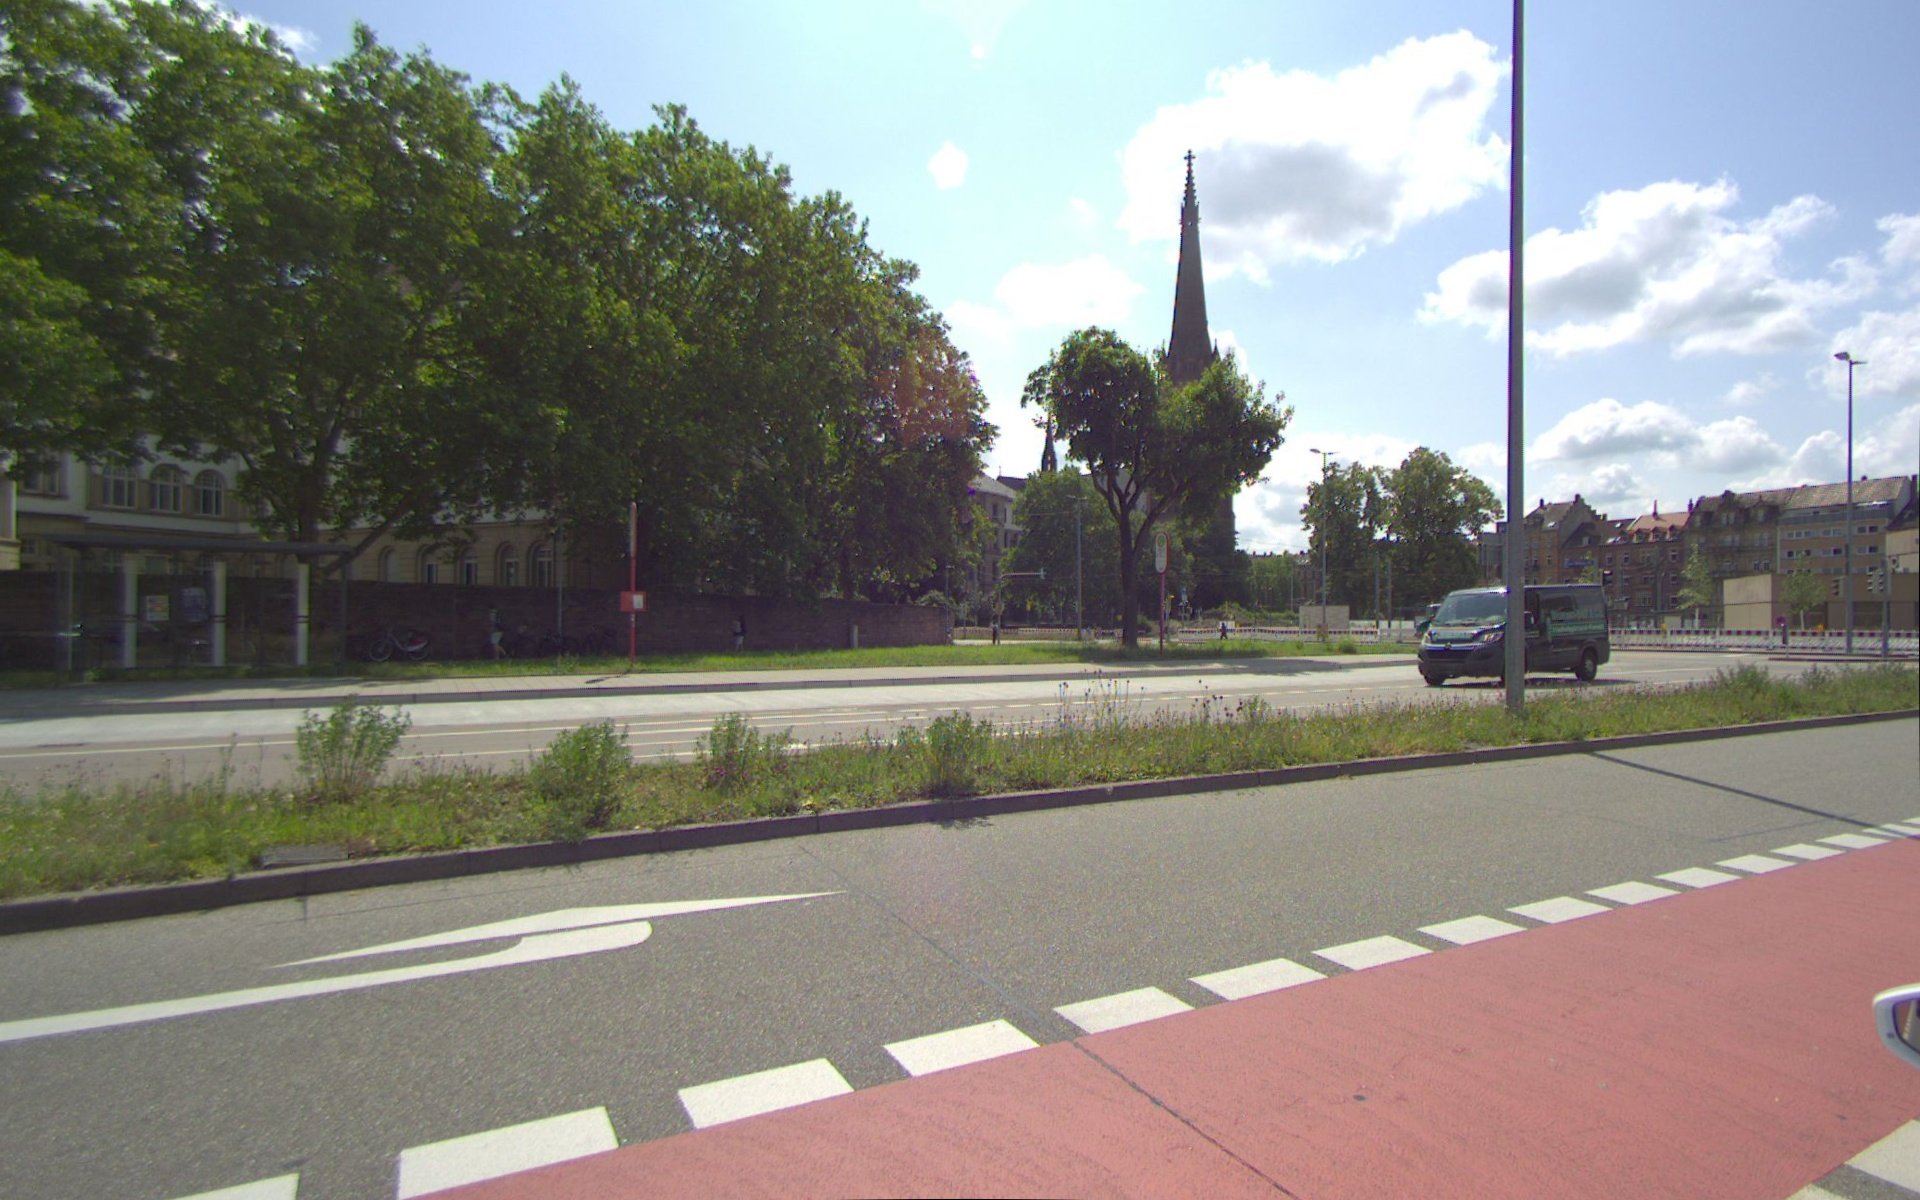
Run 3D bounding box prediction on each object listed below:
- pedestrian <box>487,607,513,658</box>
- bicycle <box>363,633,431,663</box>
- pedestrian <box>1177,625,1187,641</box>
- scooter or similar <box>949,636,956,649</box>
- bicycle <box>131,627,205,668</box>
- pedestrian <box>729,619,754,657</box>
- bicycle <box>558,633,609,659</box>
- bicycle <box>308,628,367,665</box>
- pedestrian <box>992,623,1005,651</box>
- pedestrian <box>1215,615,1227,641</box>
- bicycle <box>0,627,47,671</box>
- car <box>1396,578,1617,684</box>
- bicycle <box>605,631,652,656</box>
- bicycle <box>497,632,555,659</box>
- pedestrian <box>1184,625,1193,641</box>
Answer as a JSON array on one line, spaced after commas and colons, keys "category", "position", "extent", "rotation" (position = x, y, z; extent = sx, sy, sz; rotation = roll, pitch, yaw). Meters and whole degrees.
[{"category": "pedestrian", "position": [-13.596, 0.967, 29.693], "extent": [0.627, 1.492, 0.506], "rotation": [1, -1, -32]}, {"category": "bicycle", "position": [-16.233, 1.380, 29.008], "extent": [0.324, 0.828, 1.743], "rotation": [0, -1, 36]}, {"category": "pedestrian", "position": [23.627, 3.541, 106.798], "extent": [0.842, 1.685, 0.751], "rotation": [0, -1, 29]}, {"category": "scooter or similar", "position": [-0.429, 2.477, 58.977], "extent": [0.117, 0.721, 1.005], "rotation": [0, -1, 17]}, {"category": "bicycle", "position": [-19.411, 1.158, 24.641], "extent": [0.260, 0.977, 1.391], "rotation": [0, -1, 36]}, {"category": "pedestrian", "position": [-8.340, 1.444, 38.267], "extent": [0.720, 1.413, 0.714], "rotation": [1, -1, -35]}, {"category": "bicycle", "position": [-12.774, 1.552, 34.150], "extent": [0.324, 0.828, 1.743], "rotation": [0, -1, 36]}, {"category": "bicycle", "position": [-17.153, 1.266, 27.711], "extent": [0.260, 0.977, 1.391], "rotation": [0, -1, 36]}, {"category": "pedestrian", "position": [2.864, 2.765, 74.676], "extent": [0.713, 2.040, 0.721], "rotation": [1, -1, -32]}, {"category": "pedestrian", "position": [20.450, 2.168, 78.710], "extent": [0.625, 2.040, 0.643], "rotation": [1, -1, -32]}, {"category": "bicycle", "position": [-21.251, 1.091, 22.321], "extent": [0.260, 0.977, 1.391], "rotation": [0, -1, 36]}, {"category": "car", "position": [12.508, 0.719, 22.936], "extent": [4.960, 2.204, 2.138], "rotation": [1, -3, -30]}, {"category": "bicycle", "position": [-11.769, 1.541, 35.676], "extent": [0.324, 0.828, 1.743], "rotation": [0, -1, 36]}, {"category": "bicycle", "position": [-13.940, 1.465, 32.297], "extent": [0.378, 0.828, 1.743], "rotation": [0, -1, 36]}, {"category": "pedestrian", "position": [24.474, 3.566, 107.627], "extent": [0.842, 1.685, 0.751], "rotation": [0, -1, 29]}]
